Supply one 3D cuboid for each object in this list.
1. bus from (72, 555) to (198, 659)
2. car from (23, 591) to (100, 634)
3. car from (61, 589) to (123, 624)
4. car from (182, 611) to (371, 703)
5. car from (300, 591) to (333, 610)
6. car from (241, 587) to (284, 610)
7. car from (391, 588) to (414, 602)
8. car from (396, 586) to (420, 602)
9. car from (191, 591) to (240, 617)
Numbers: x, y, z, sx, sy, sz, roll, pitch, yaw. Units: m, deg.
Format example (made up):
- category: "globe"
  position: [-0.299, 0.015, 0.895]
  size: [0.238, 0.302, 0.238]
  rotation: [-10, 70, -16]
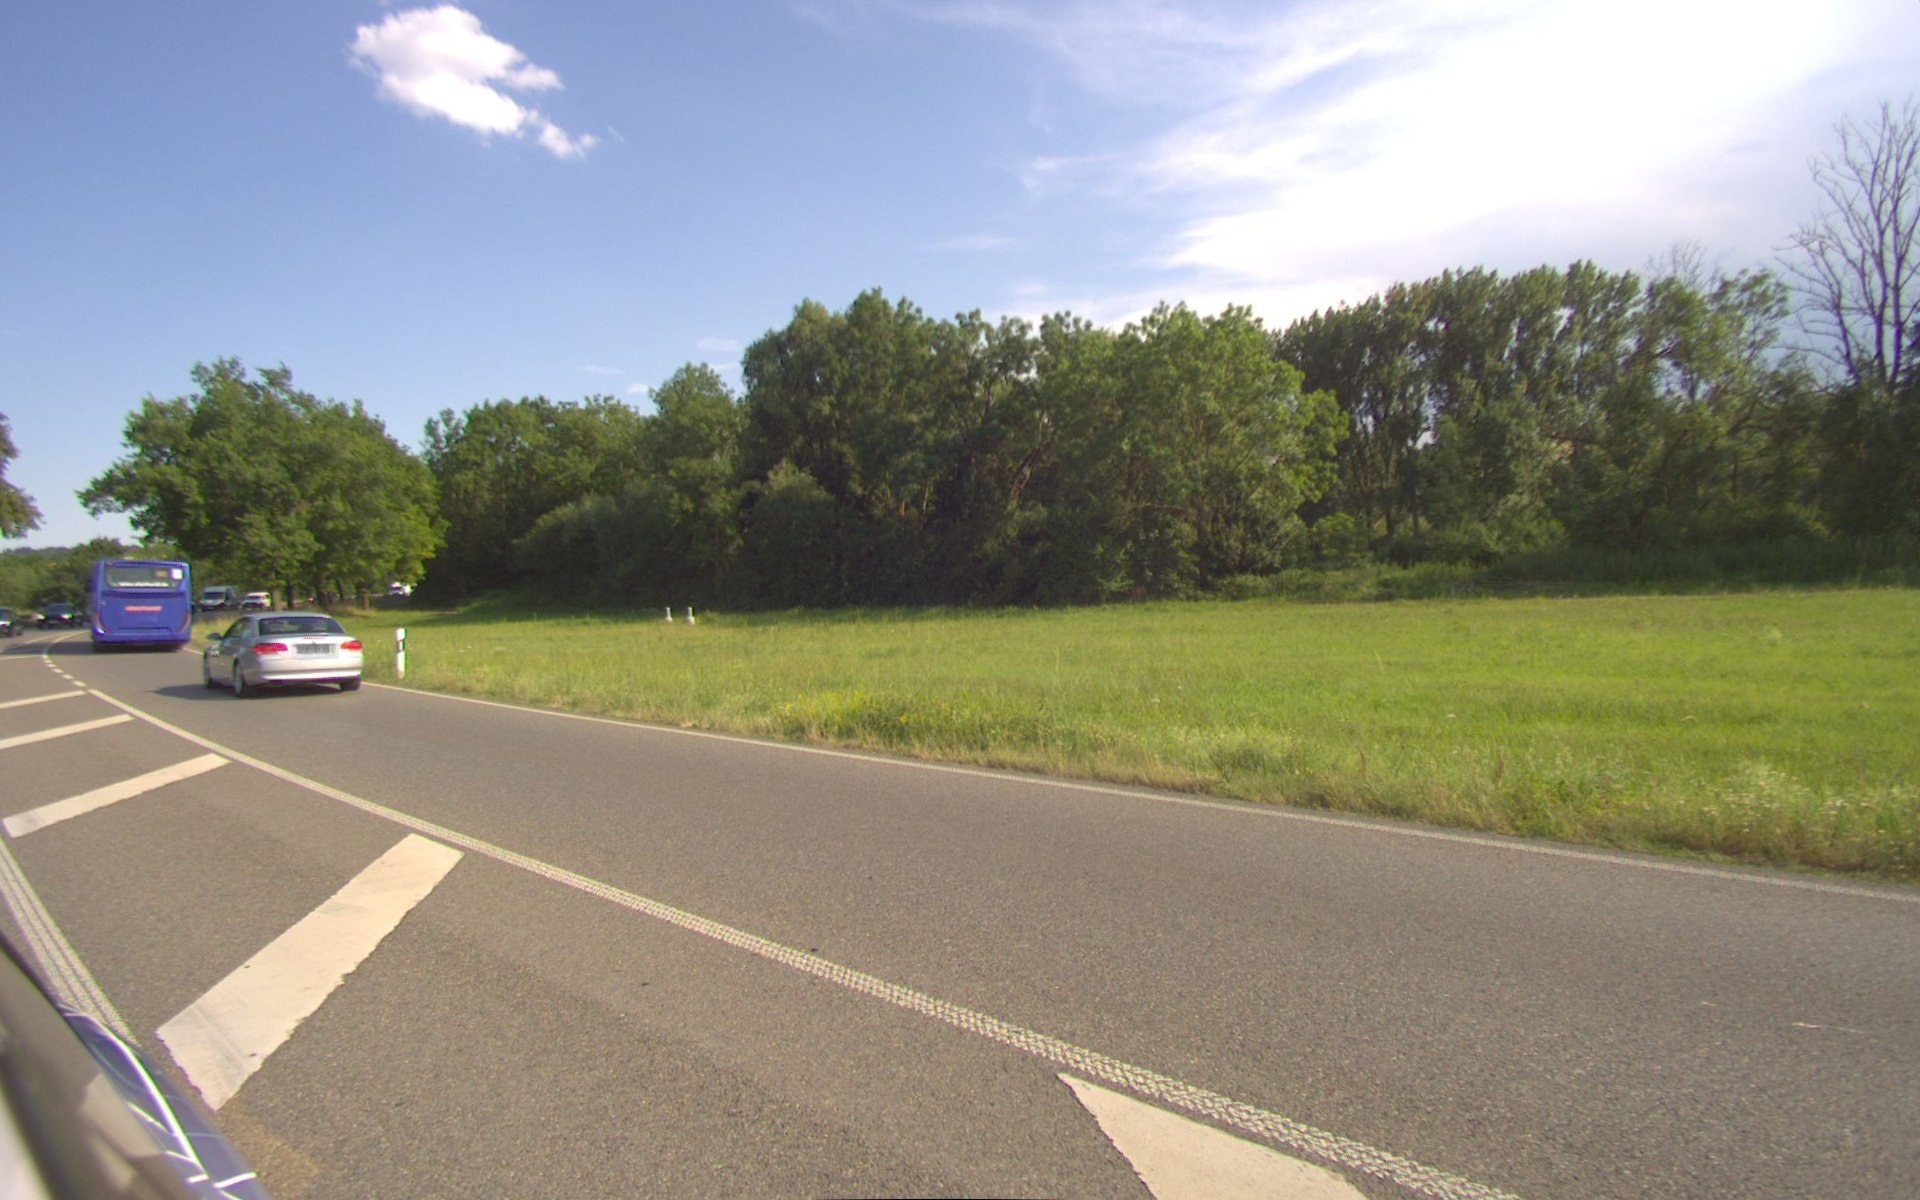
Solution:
- category: "bus"
  position: [-30.133, 0.128, 36.683]
  size: [2.761, 3.205, 12.140]
  rotation: [-2, 2, -43]
- category: "car"
  position: [-55.887, 0.727, 63.068]
  size: [2.054, 2.435, 5.159]
  rotation: [-2, 2, -24]
- category: "car"
  position: [-63.852, 0.443, 74.546]
  size: [2.054, 2.435, 5.159]
  rotation: [-2, 2, -24]
- category: "car"
  position: [-12.068, 0.901, 17.728]
  size: [4.749, 1.344, 1.681]
  rotation: [0, 1, 43]
- category: "car"
  position: [-87.235, 0.048, 137.228]
  size: [2.055, 2.435, 5.156]
  rotation: [-1, 1, -13]
- category: "car"
  position: [-77.245, -0.187, 112.127]
  size: [2.055, 2.435, 5.156]
  rotation: [-1, 1, -13]
- category: "car"
  position: [-98.645, -0.903, 179.077]
  size: [2.055, 2.435, 5.156]
  rotation: [-1, 1, -13]
- category: "car"
  position: [-89.575, -0.985, 164.328]
  size: [2.055, 2.435, 5.156]
  rotation: [-1, 1, -13]
- category: "car"
  position: [-74.727, 0.347, 101.666]
  size: [2.055, 2.435, 5.156]
  rotation: [-1, 1, -13]
